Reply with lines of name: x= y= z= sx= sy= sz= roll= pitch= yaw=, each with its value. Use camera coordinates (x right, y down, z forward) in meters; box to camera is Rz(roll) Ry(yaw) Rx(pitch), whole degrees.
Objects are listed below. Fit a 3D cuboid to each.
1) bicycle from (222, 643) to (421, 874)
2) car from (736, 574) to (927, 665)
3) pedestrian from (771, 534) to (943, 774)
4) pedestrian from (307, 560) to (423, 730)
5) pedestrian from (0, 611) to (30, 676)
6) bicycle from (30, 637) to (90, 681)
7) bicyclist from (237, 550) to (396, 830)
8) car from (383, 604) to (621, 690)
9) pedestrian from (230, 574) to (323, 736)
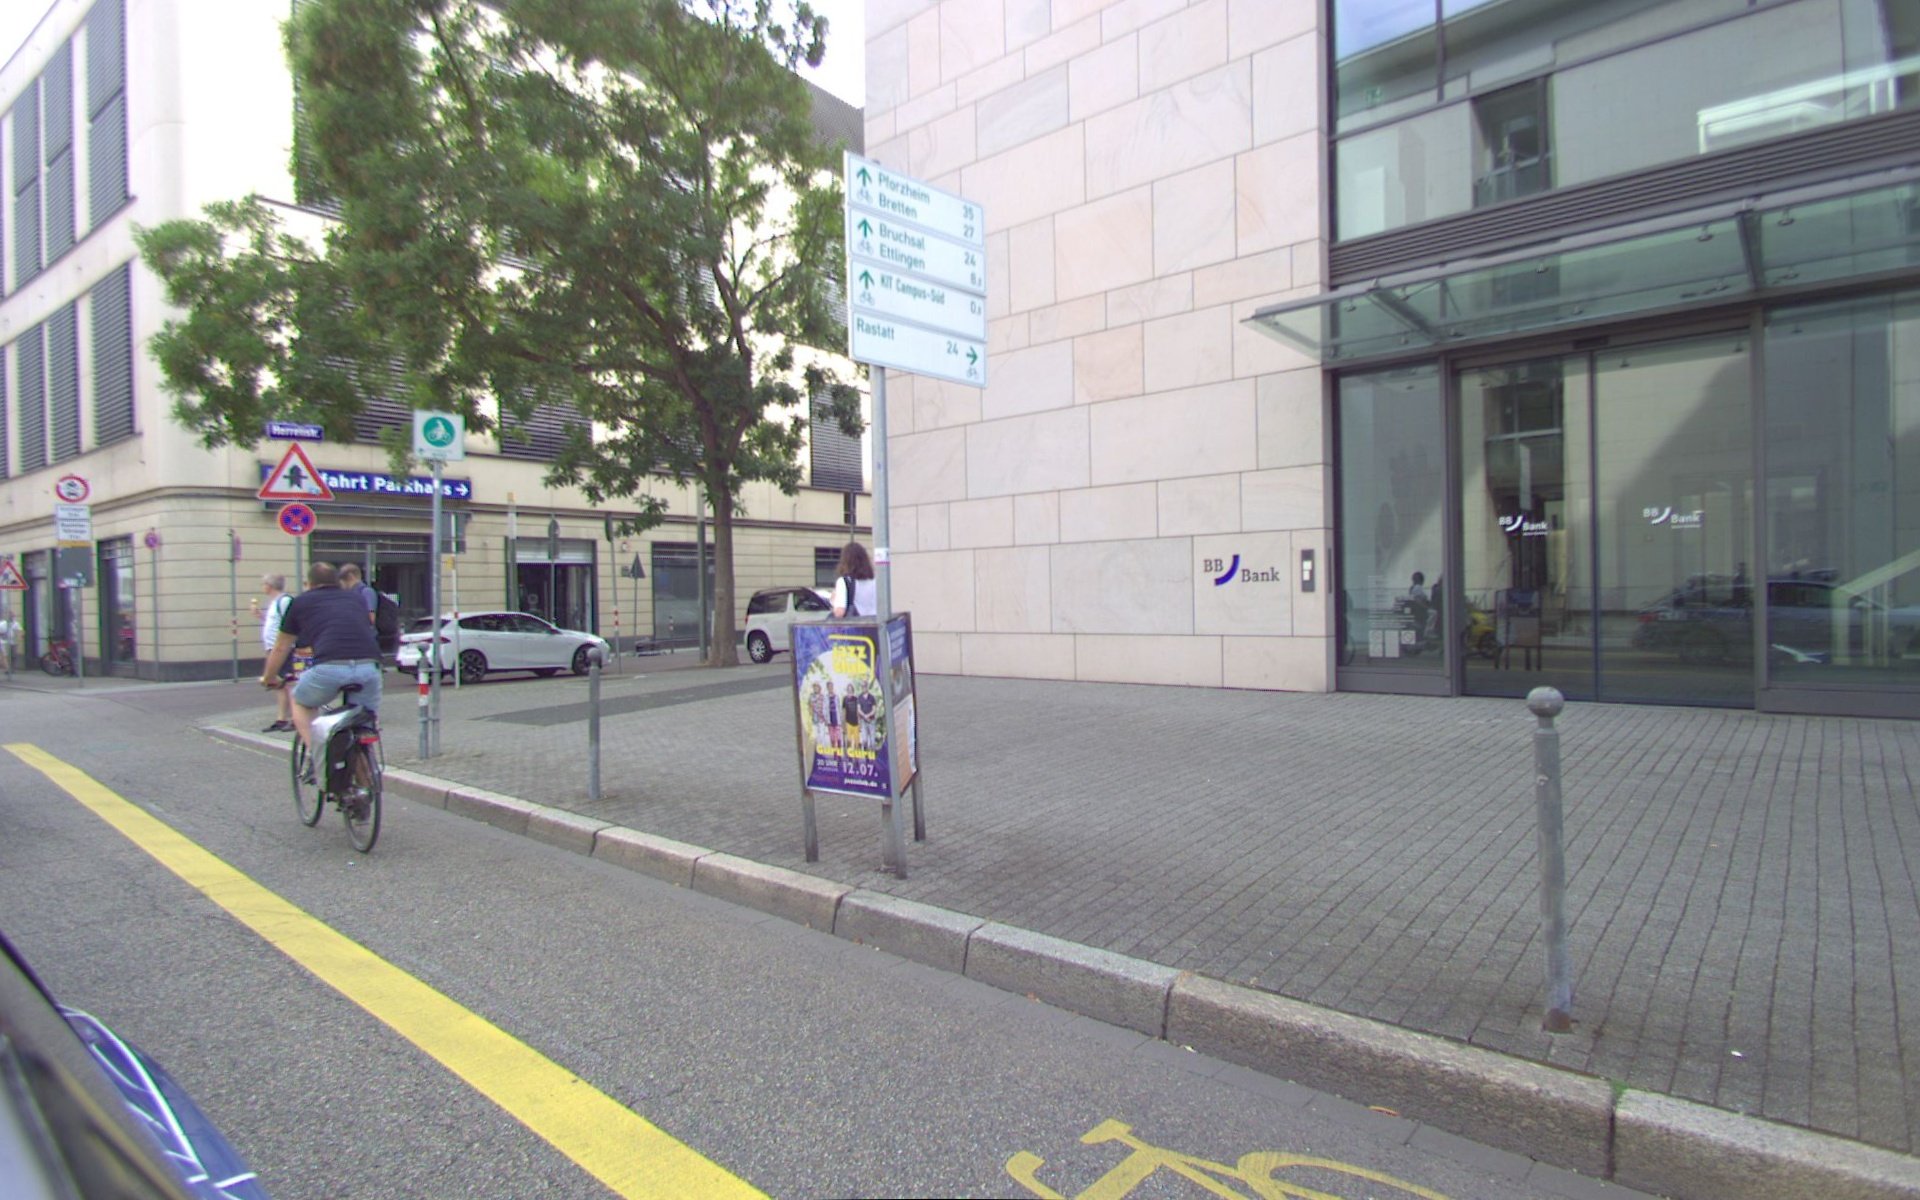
bicycle: x=-4.197 y=0.923 z=6.582 sx=1.954 sy=1.250 sz=0.639 roll=-1 pitch=-3 yaw=45
car: x=-2.893 y=0.465 z=22.477 sx=3.957 sy=1.706 sz=1.876 roll=-5 pitch=-3 yaw=37
pedestrian: x=-0.803 y=0.378 z=7.933 sx=0.909 sy=1.721 sz=0.868 roll=-1 pitch=4 yaw=40
pedestrian: x=-6.755 y=0.488 z=11.502 sx=0.753 sy=1.827 sz=0.738 roll=-2 pitch=3 yaw=29
pedestrian: x=-27.382 y=1.246 z=28.958 sx=1.060 sy=1.778 sz=0.881 roll=-1 pitch=4 yaw=40
bicycle: x=-23.410 y=1.503 z=26.302 sx=2.539 sy=1.052 sz=0.684 roll=-1 pitch=0 yaw=37
bicyclist: x=-4.194 y=0.549 z=6.586 sx=0.940 sy=1.666 sz=0.635 roll=-1 pitch=-3 yaw=45
car: x=-9.582 y=0.905 z=21.495 sx=1.811 sy=1.593 sz=4.315 roll=-1 pitch=0 yaw=35
pedestrian: x=-7.804 y=0.607 z=11.565 sx=0.651 sy=1.778 sz=0.637 roll=-2 pitch=0 yaw=29
